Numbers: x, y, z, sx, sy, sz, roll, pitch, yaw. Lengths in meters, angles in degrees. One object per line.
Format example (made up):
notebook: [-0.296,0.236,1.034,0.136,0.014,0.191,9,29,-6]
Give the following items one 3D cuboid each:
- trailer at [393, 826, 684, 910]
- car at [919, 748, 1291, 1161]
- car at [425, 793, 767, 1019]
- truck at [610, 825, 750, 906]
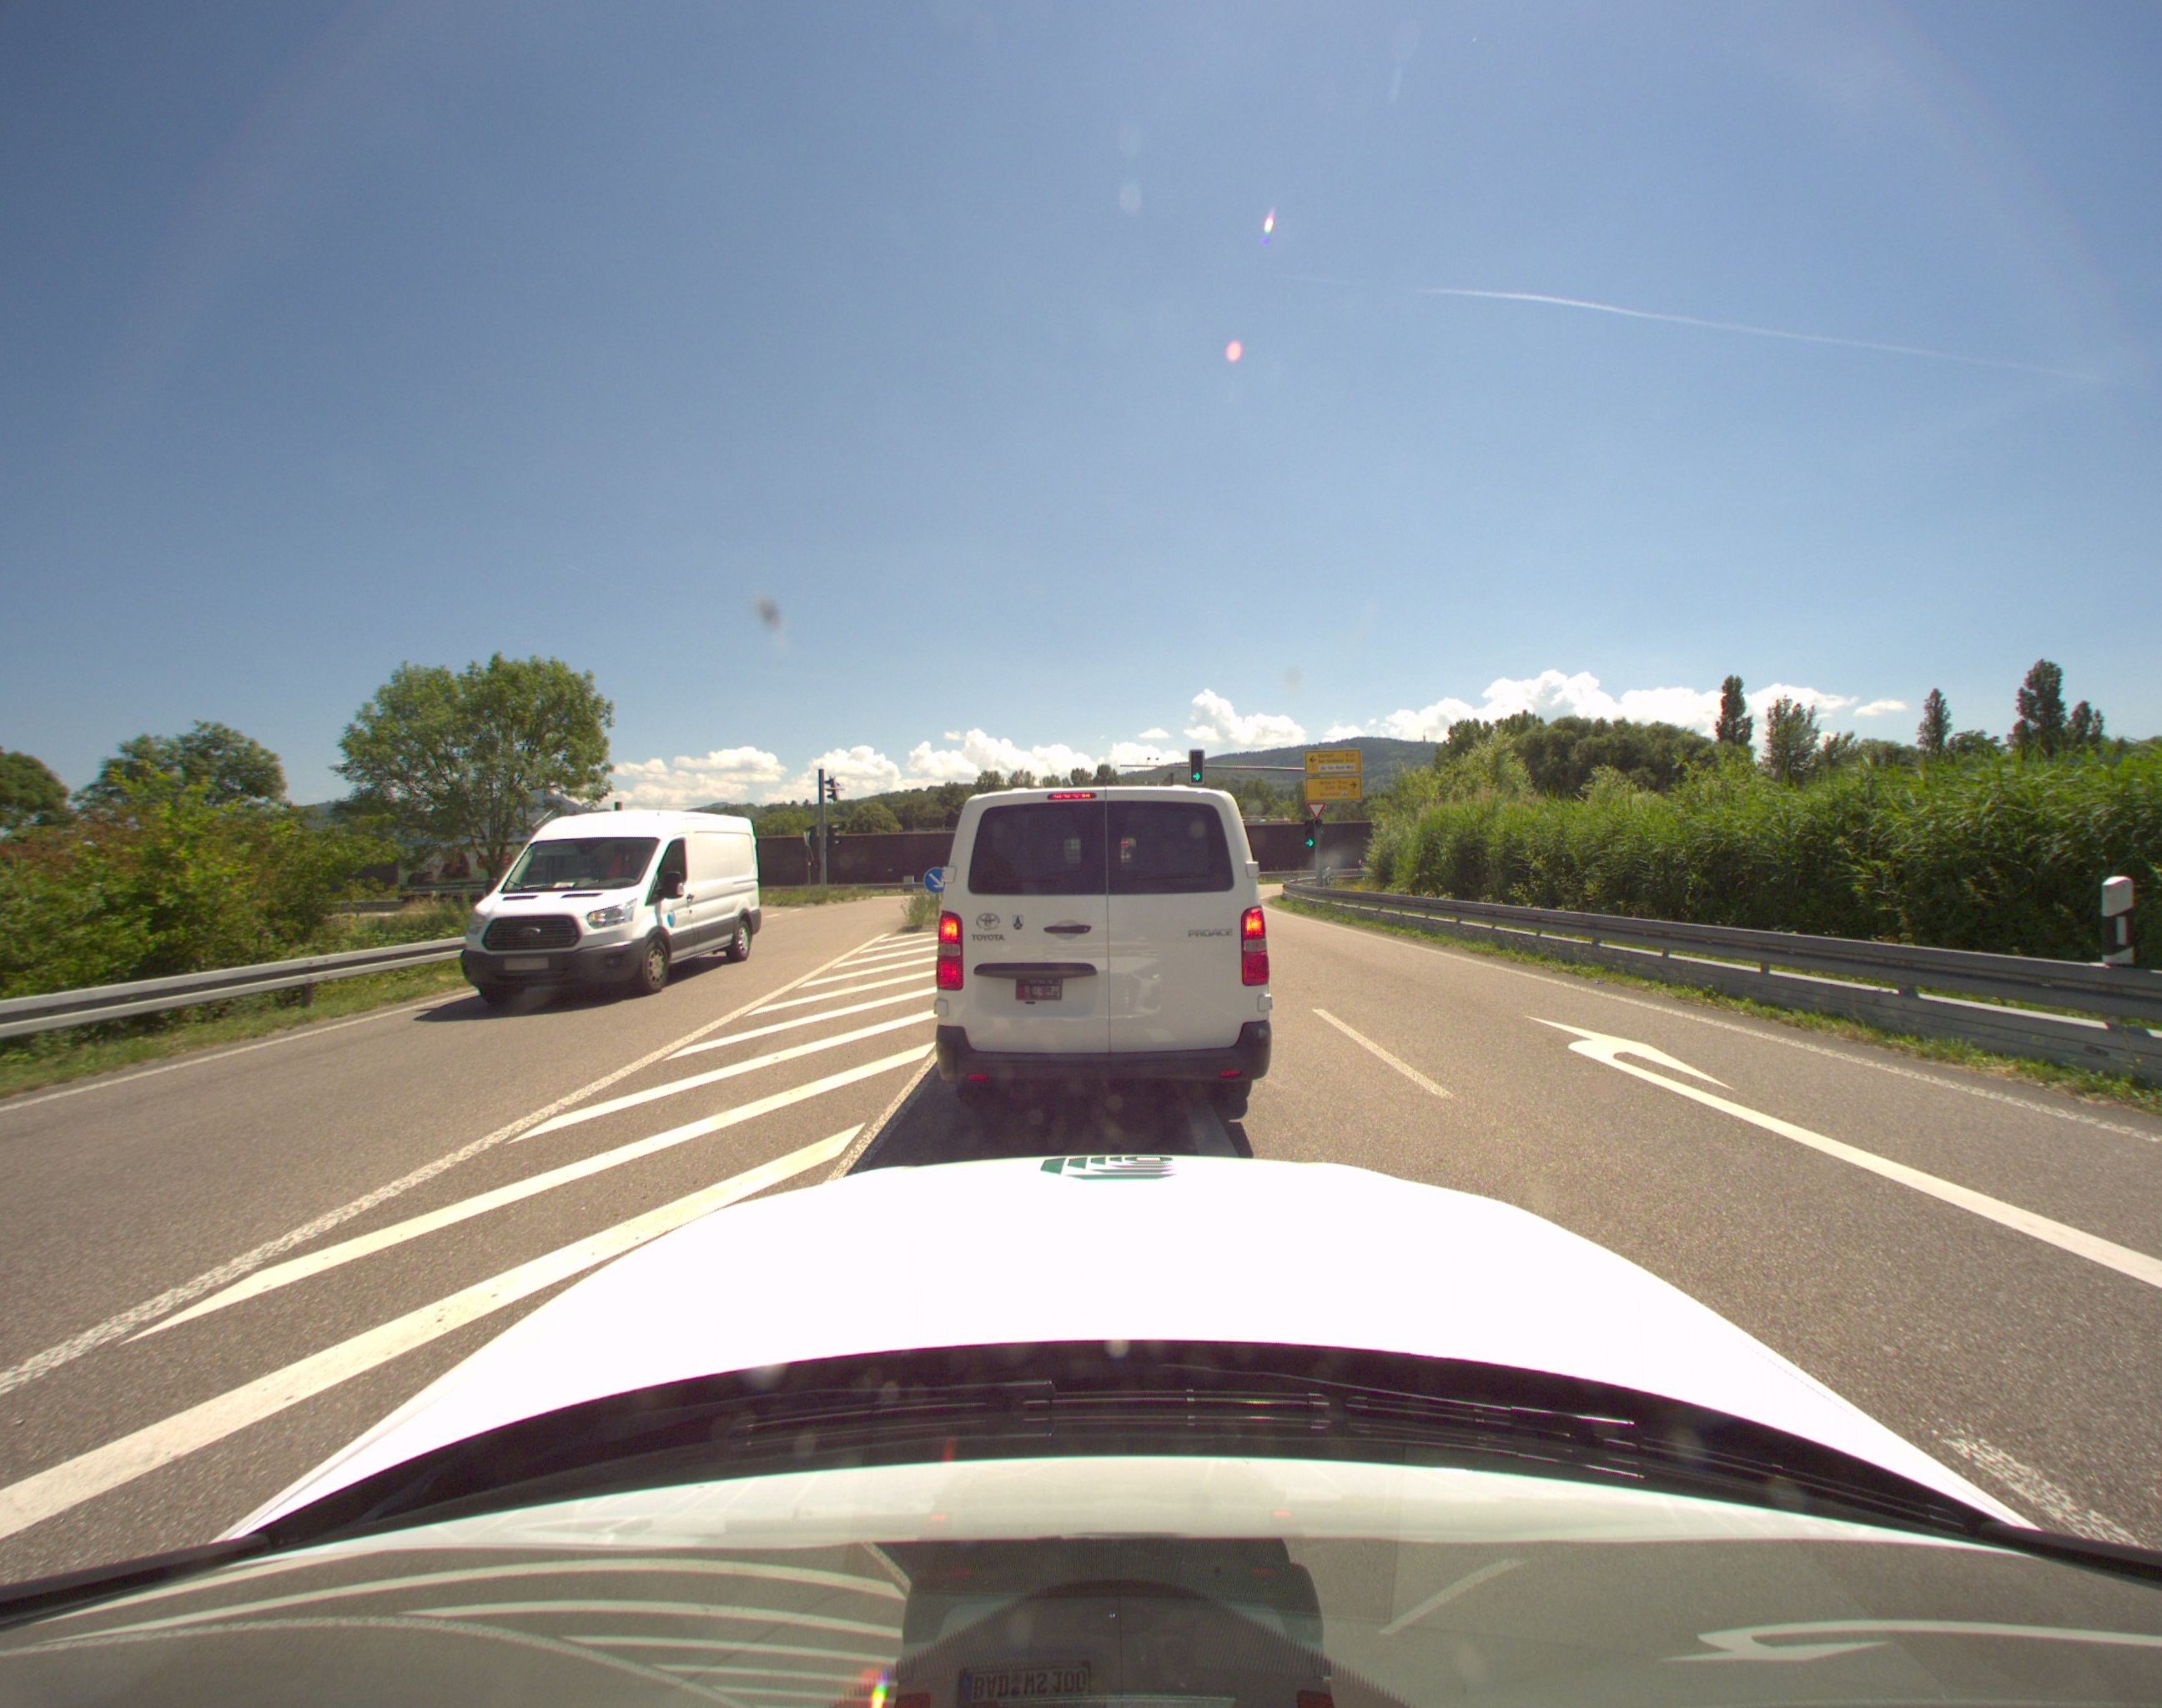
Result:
trailer: [-28.195,0.724,42.719,13.098,3.954,3.061,-1,-1,0]
car: [0.176,0.515,6.043,1.808,2.017,4.001,-1,-1,2]
car: [-6.478,0.593,11.893,1.991,2.416,5.578,-3,0,-6]
truck: [-20.924,0.588,42.776,5.746,3.954,3.062,-1,-1,0]
